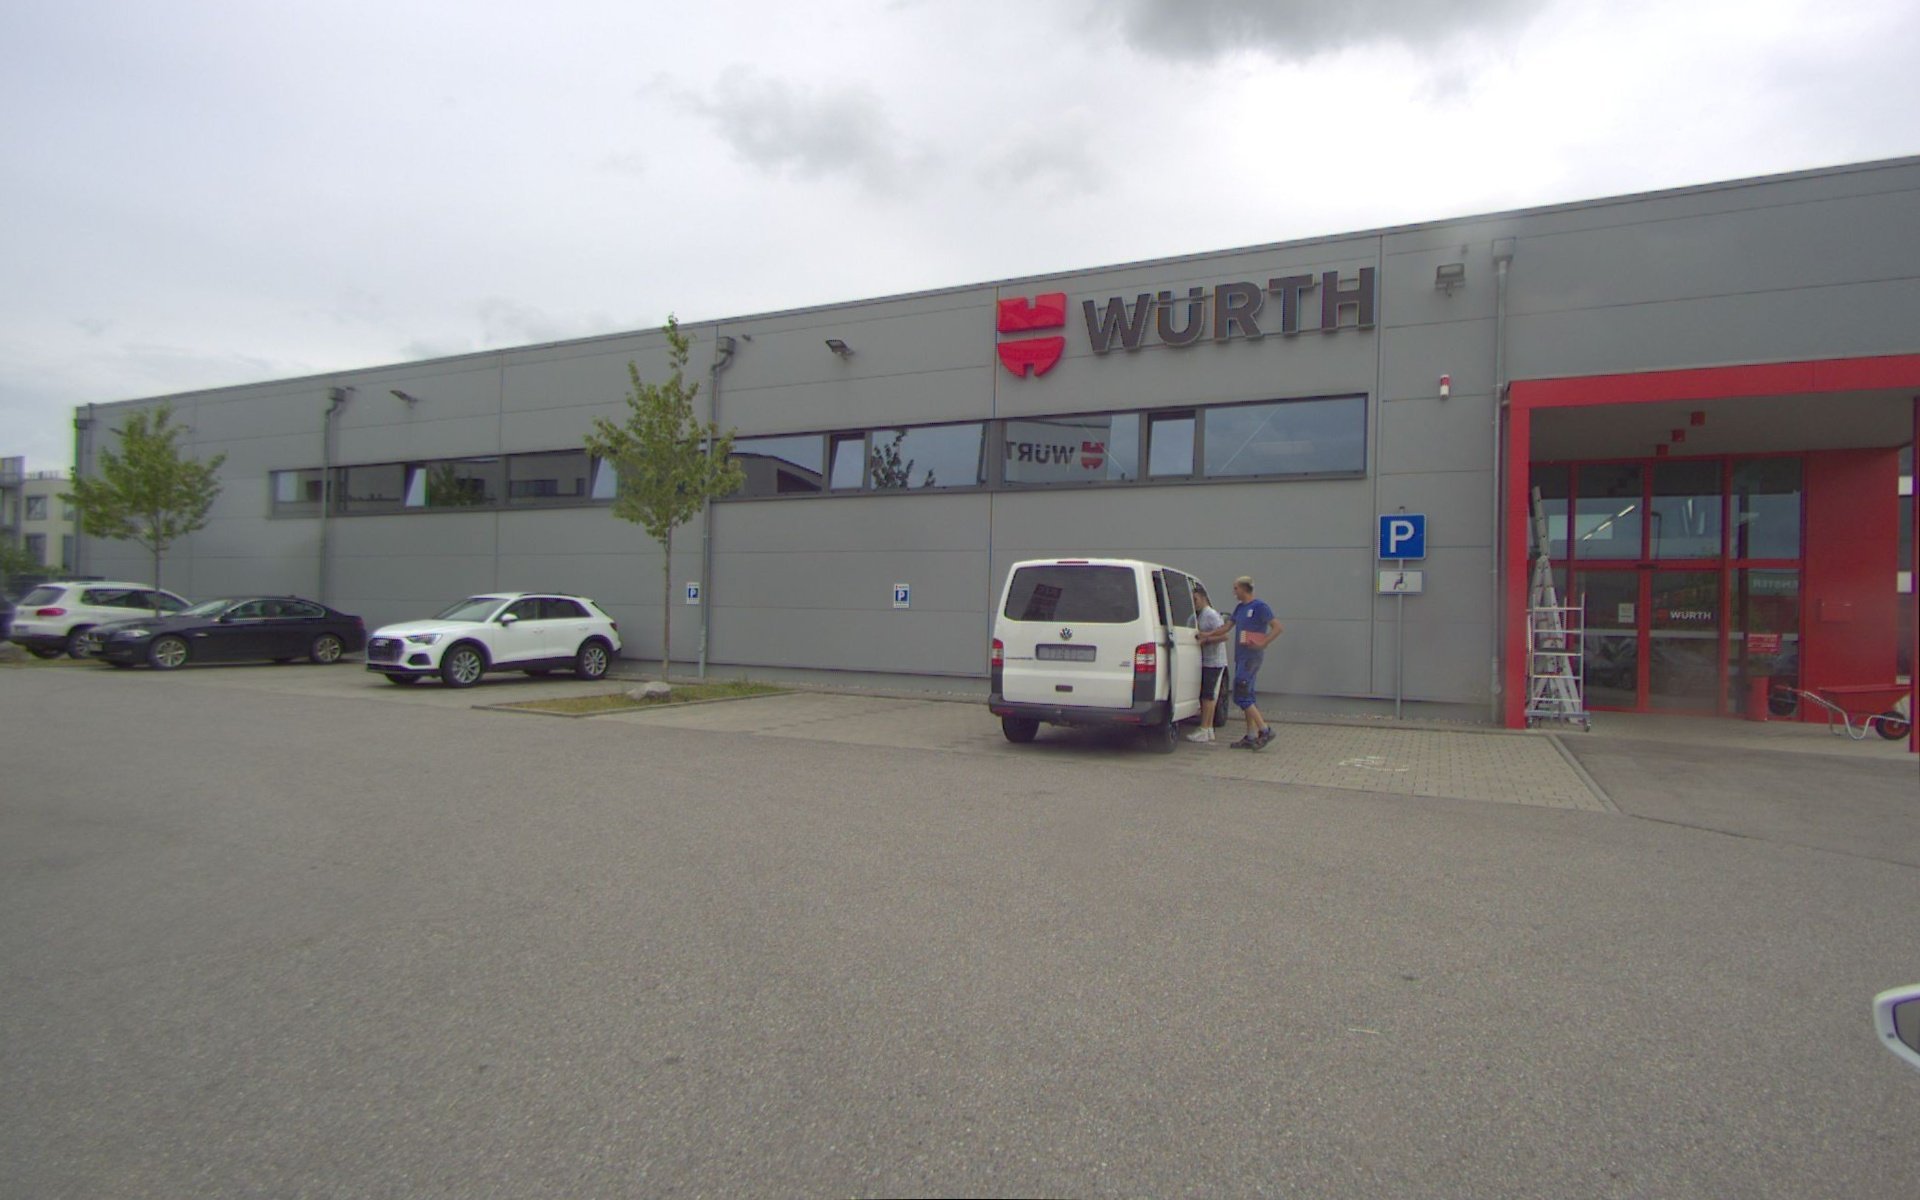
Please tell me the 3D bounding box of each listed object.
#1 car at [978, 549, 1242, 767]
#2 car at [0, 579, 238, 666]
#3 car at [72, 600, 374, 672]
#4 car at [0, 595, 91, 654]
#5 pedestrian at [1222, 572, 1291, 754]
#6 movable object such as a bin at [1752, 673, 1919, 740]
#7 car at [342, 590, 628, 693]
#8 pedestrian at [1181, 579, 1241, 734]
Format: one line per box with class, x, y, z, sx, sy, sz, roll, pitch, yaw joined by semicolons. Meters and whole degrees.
car;2.028;0.566;11.991;1.900;2.040;4.756;2;0;23
car;-18.926;0.471;22.507;1.961;1.728;3.998;2;0;23
car;-14.962;0.700;20.731;1.726;1.278;4.734;1;-1;29
car;-23.533;0.563;24.077;1.740;1.361;3.712;2;0;19
pedestrian;3.181;0.661;10.819;0.577;1.881;0.626;2;0;9
movable object such as a bin;11.397;1.361;13.085;1.556;0.725;0.802;1;-1;28
car;-8.214;0.679;17.827;1.726;1.576;4.405;1;-1;29
pedestrian;2.869;0.633;11.486;0.575;1.724;0.360;1;0;28
